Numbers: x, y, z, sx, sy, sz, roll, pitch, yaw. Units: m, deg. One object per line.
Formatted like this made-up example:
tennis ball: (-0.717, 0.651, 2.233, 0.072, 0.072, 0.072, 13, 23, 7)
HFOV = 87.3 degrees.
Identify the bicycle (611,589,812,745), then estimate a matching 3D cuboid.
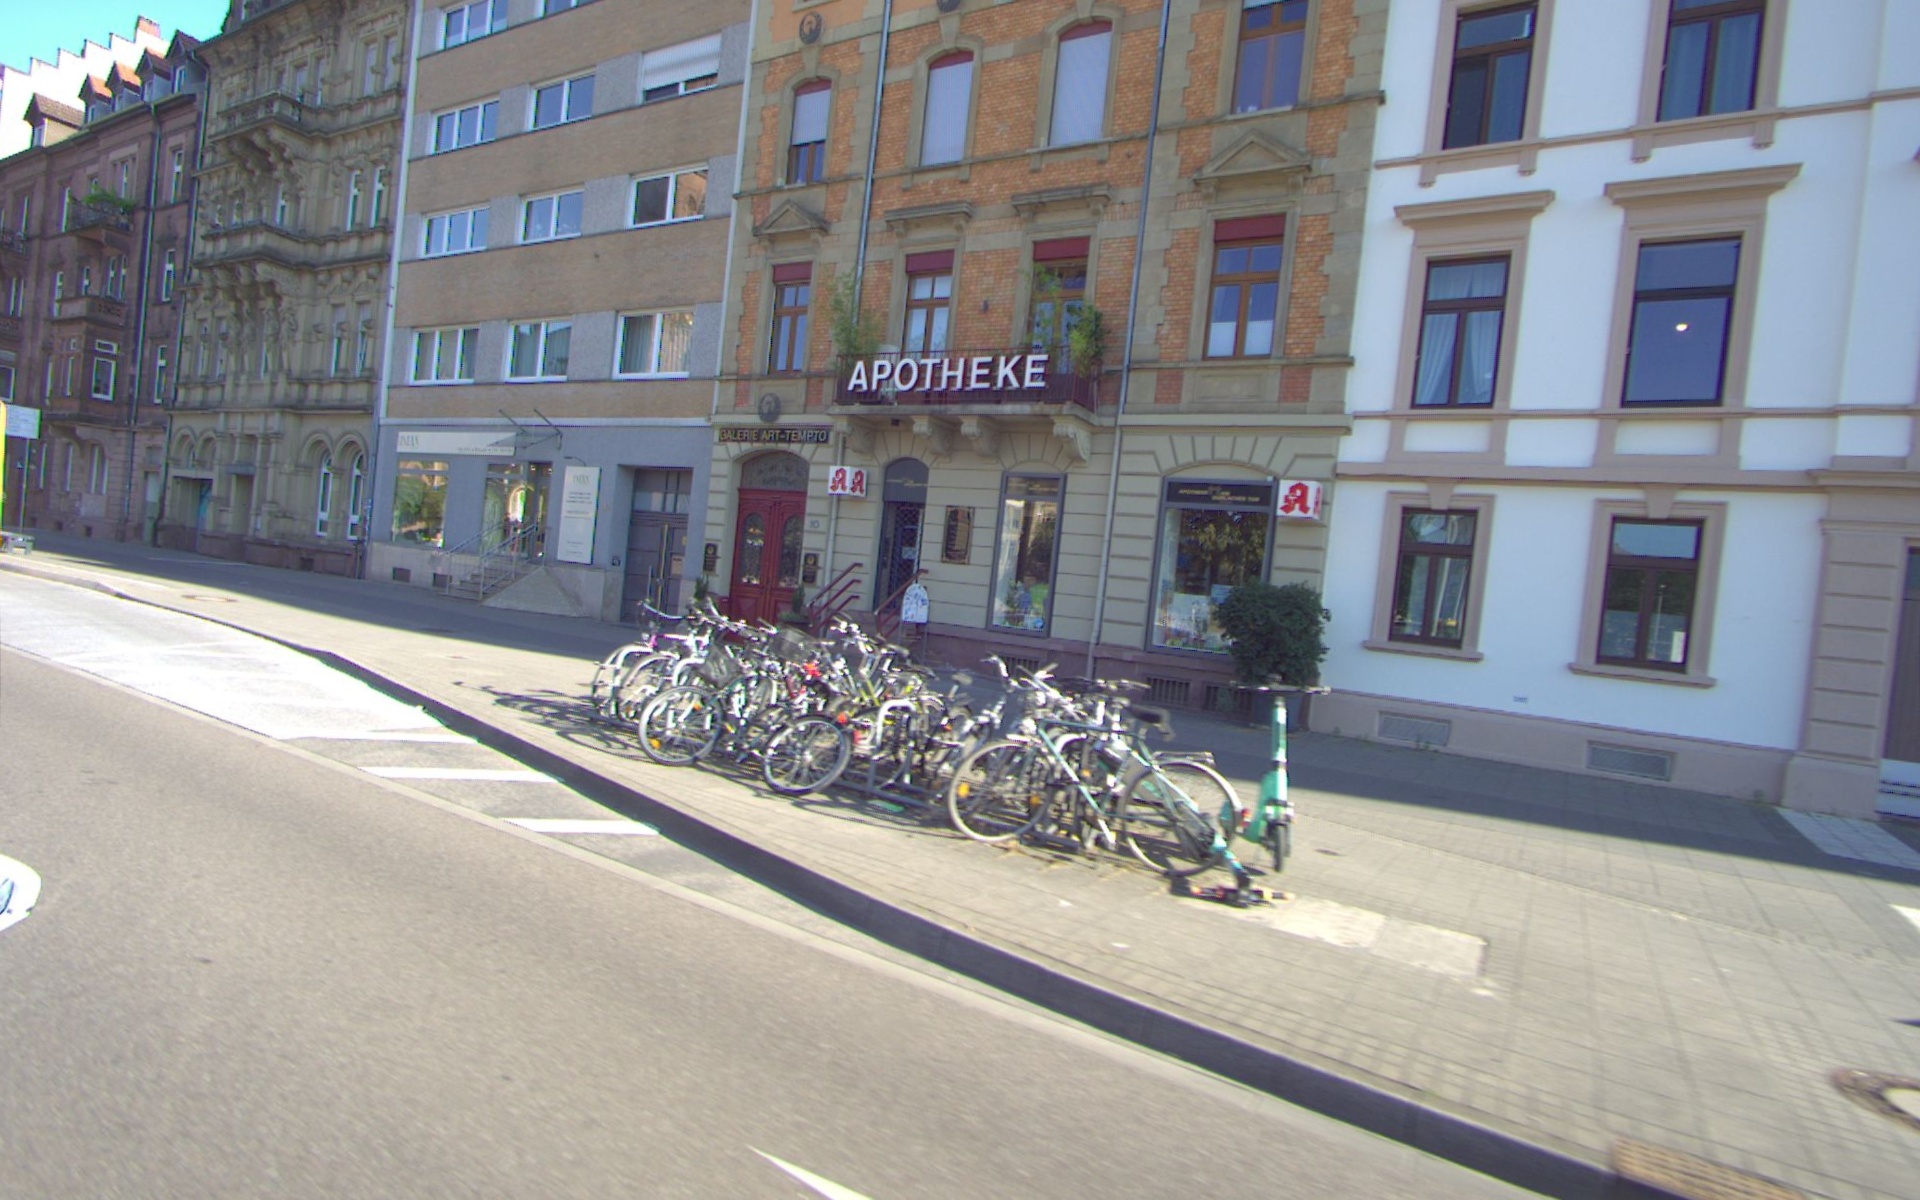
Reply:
bicycle: (-2.128, 0.593, 8.863, 0.462, 1.202, 1.794, 8, 0, 31)

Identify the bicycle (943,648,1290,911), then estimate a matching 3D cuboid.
bicycle: (0.863, 0.976, 5.715, 1.737, 1.161, 0.470, 7, 1, 8)

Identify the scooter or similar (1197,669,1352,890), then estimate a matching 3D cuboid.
scooter or similar: (2.053, 1.130, 6.716, 0.630, 1.231, 1.210, 6, -1, 5)

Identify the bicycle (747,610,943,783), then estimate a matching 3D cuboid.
bicycle: (-0.868, 0.761, 8.117, 0.462, 1.202, 1.767, 8, 0, 31)

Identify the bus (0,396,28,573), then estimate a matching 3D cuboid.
bus: (-23.345, -2.752, 20.806, 12.333, 3.223, 2.716, 7, 2, 32)

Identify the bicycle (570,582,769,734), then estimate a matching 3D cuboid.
bicycle: (-2.564, 0.534, 9.092, 0.462, 1.202, 1.767, 8, 0, 31)

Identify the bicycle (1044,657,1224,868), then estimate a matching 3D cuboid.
bicycle: (1.234, 1.028, 6.817, 0.462, 1.193, 1.767, 8, 0, 31)

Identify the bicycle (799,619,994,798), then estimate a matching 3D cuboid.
bicycle: (-0.434, 0.817, 7.851, 0.462, 1.202, 1.767, 8, 0, 31)

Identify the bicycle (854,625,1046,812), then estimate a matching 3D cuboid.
bicycle: (-0.016, 0.854, 7.582, 0.462, 1.202, 1.767, 8, 0, 31)

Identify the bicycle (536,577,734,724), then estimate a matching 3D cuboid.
bicycle: (-2.966, 0.485, 9.363, 0.462, 1.202, 1.767, 8, 0, 31)

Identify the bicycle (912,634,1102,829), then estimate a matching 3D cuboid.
bicycle: (0.402, 0.908, 7.328, 0.462, 1.202, 1.767, 8, 0, 31)

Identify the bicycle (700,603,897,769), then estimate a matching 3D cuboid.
bicycle: (-1.284, 0.704, 8.377, 0.462, 1.202, 1.767, 8, 0, 31)

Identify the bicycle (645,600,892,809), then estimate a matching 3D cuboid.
bicycle: (-1.387, 0.689, 7.117, 1.741, 1.161, 0.469, 8, 1, 32)

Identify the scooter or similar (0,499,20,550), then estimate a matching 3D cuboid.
scooter or similar: (-24.521, -1.943, 25.542, 1.271, 1.266, 0.432, 5, 2, 22)

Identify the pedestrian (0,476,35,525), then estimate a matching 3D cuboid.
pedestrian: (-40.252, -4.232, 42.890, 1.118, 1.955, 0.822, 7, 2, 31)

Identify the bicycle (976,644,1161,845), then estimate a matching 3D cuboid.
bicycle: (0.822, 0.959, 7.080, 0.462, 1.193, 1.767, 8, 0, 31)

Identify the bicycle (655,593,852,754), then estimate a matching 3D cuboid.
bicycle: (-1.710, 0.630, 8.624, 0.462, 1.202, 1.767, 8, 0, 31)
